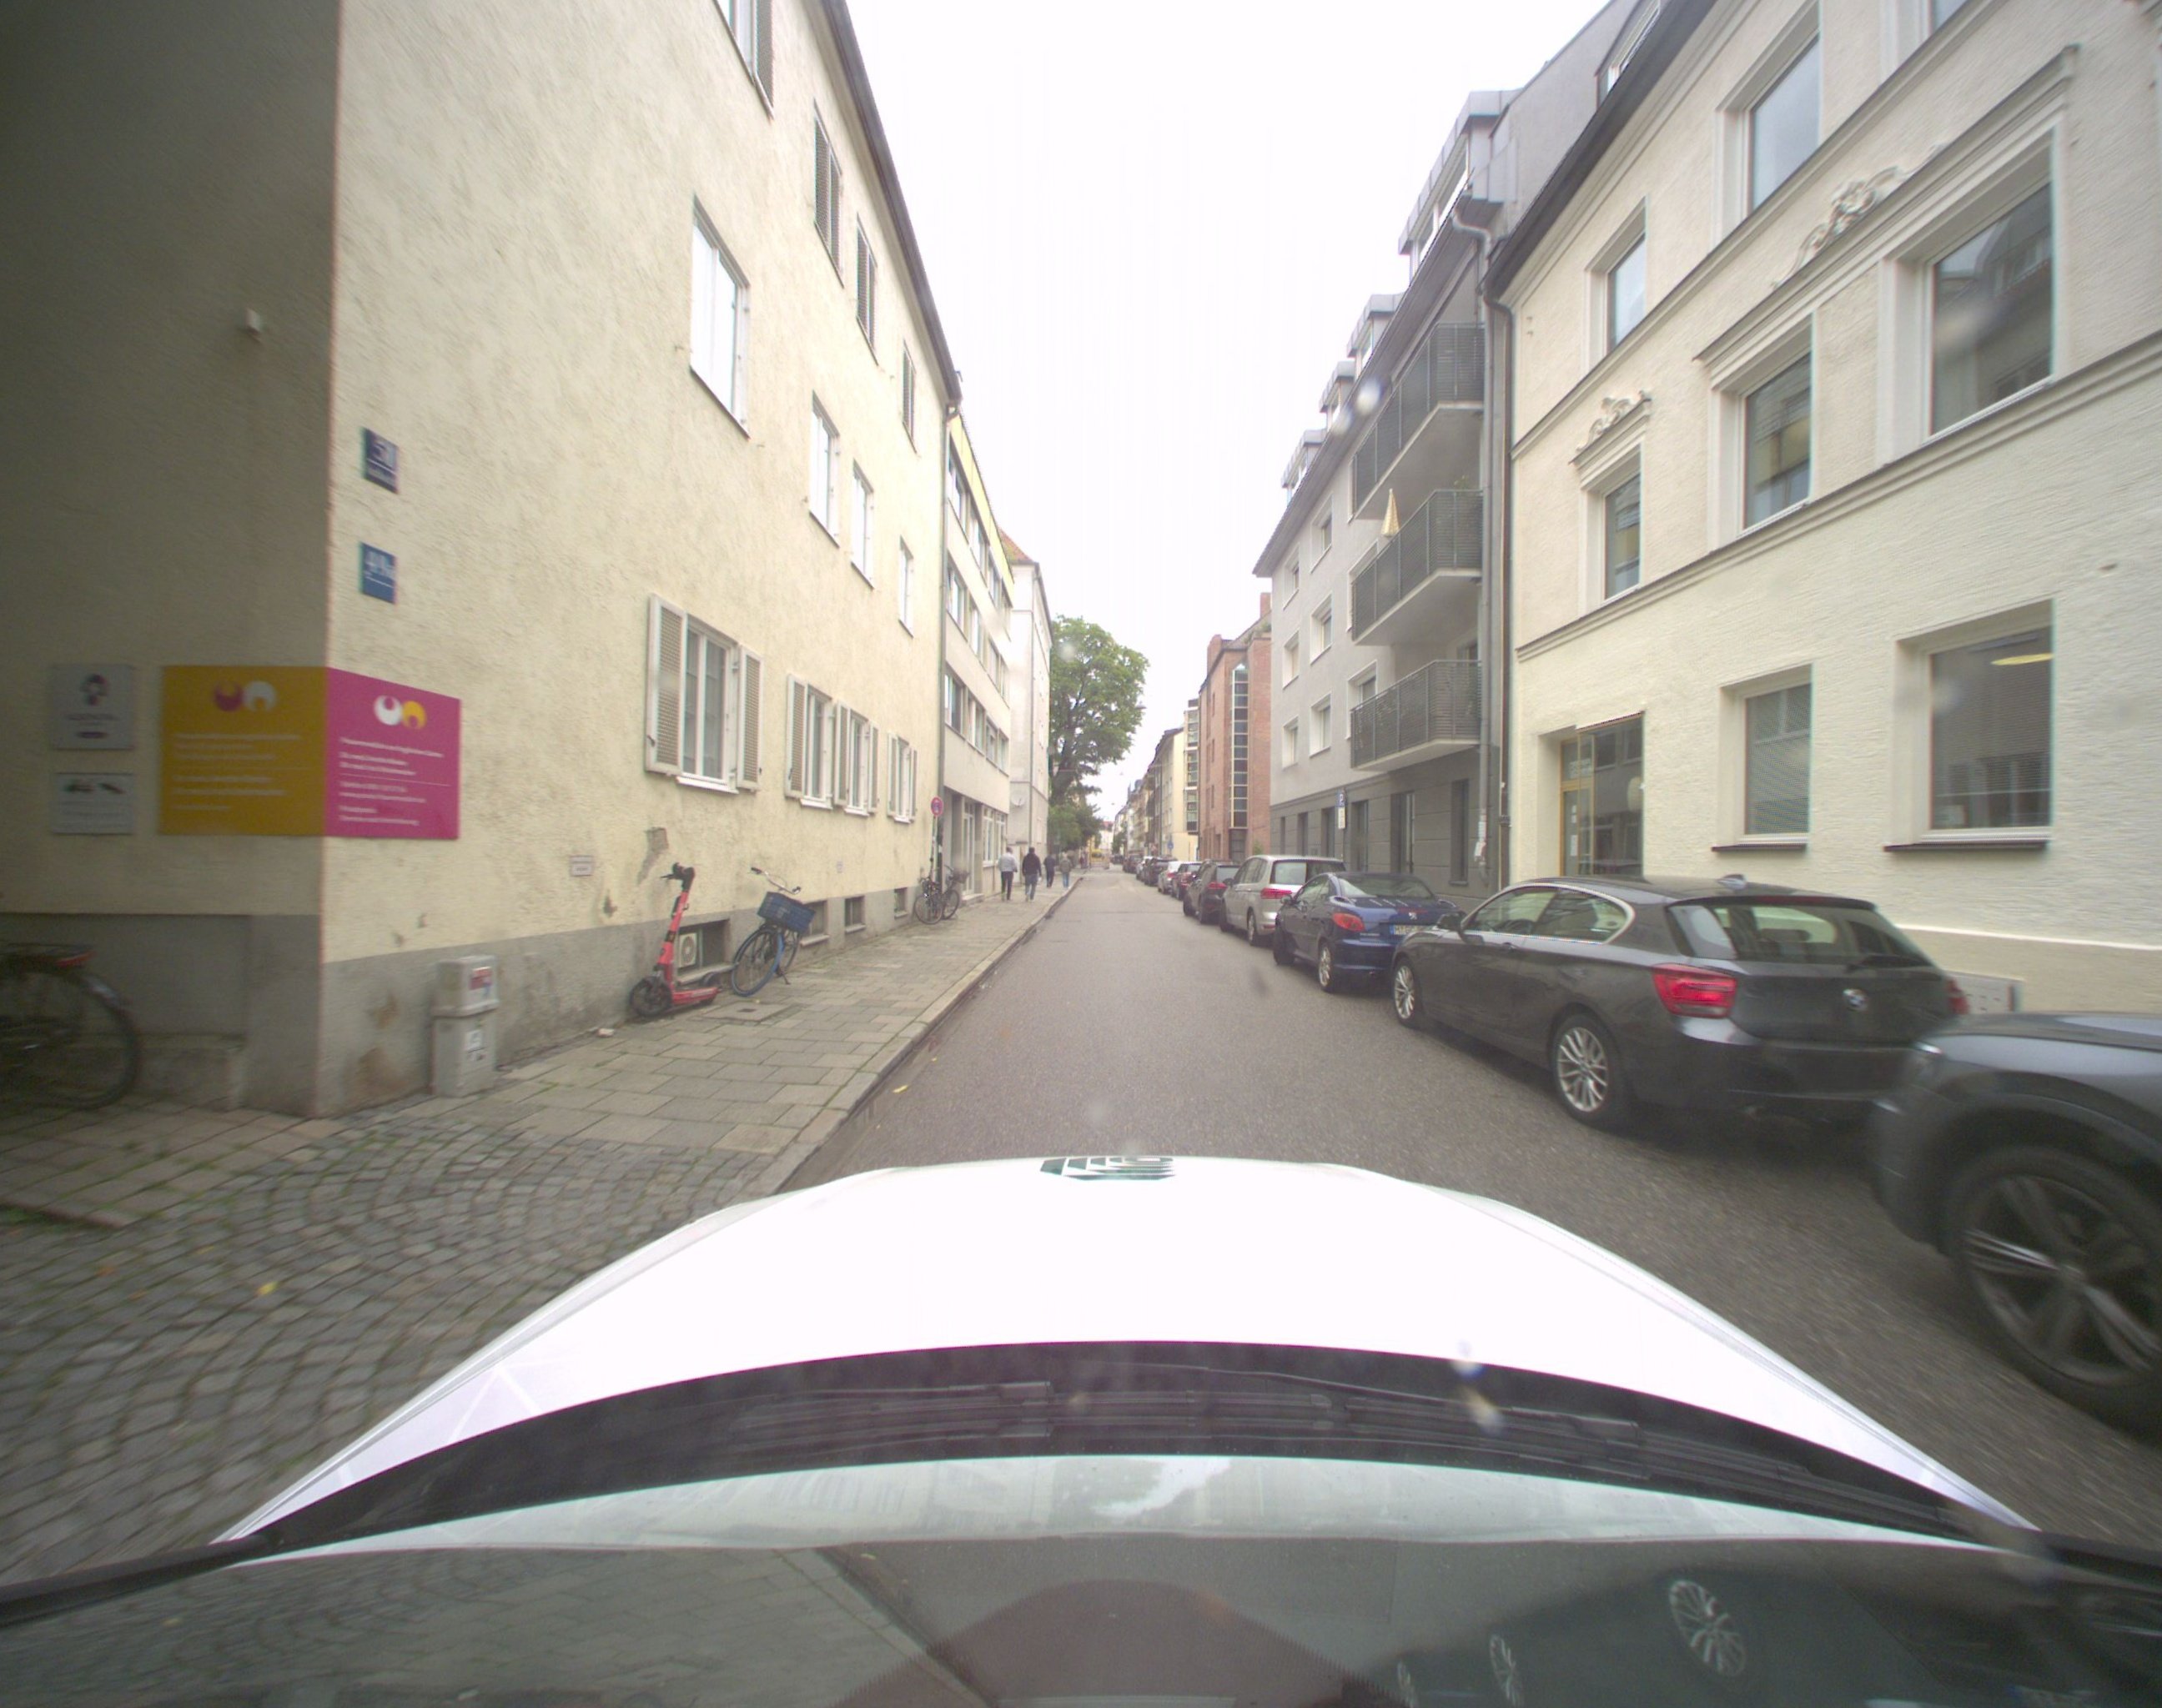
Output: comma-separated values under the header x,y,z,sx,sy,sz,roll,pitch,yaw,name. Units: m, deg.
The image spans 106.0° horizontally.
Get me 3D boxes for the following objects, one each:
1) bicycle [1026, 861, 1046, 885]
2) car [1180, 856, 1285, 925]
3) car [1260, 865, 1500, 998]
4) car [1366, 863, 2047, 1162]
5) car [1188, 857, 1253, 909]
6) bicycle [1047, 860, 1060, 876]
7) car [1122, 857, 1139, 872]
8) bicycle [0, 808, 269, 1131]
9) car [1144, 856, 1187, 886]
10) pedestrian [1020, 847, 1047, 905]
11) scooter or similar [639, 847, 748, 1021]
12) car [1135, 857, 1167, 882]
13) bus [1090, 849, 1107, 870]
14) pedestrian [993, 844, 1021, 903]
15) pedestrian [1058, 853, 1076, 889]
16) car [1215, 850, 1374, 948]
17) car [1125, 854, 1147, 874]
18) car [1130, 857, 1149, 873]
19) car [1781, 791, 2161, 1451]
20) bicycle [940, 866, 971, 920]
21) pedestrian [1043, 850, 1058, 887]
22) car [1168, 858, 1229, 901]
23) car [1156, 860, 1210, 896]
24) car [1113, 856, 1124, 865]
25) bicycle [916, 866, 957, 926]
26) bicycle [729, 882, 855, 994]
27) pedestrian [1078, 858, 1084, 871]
x,y,z,sx,sy,sz,roll,pitch,yaw,name
-2.309,0.947,41.613,0.643,1.217,1.655,0,-1,-17,bicycle
3.666,0.831,20.423,1.833,1.528,4.292,1,0,0,car
3.604,0.851,10.615,1.801,1.363,3.947,0,0,2,car
3.755,0.782,6.075,1.793,1.386,4.349,0,0,1,car
4.386,0.879,25.964,1.516,1.511,3.202,1,0,0,car
-1.922,0.961,56.223,0.474,1.111,1.750,1,0,-16,bicycle
5.663,1.172,93.652,1.630,1.515,3.829,4,0,1,car
-5.005,0.436,3.624,2.192,1.299,0.514,3,0,0,bicycle
4.621,0.891,45.283,1.880,1.555,4.390,1,0,-1,car
-1.515,0.691,25.852,0.715,1.765,0.838,2,-1,1,pedestrian
-3.318,0.637,7.062,0.316,1.376,1.239,0,-1,1,scooter or similar
4.745,1.048,55.783,1.743,1.630,4.195,0,0,-1,car
2.707,0.867,127.505,2.583,3.102,6.308,0,-1,2,bus
-2.313,0.617,25.615,0.715,1.796,0.917,2,-1,1,pedestrian
-0.689,0.821,39.270,0.750,1.659,0.906,2,-1,1,pedestrian
3.859,0.749,15.534,1.870,1.570,4.315,-1,0,0,car
5.517,0.969,81.768,1.796,1.820,3.998,4,0,-1,car
5.568,1.047,77.405,1.618,1.487,3.809,1,0,2,car
3.535,0.678,0.934,1.670,1.661,4.513,1,0,1,car
-2.859,0.861,18.648,0.561,1.159,1.718,1,-1,-4,bicycle
-1.463,0.692,39.187,0.610,1.713,0.823,2,-1,1,pedestrian
4.370,0.911,30.834,1.740,1.462,4.150,1,0,0,car
4.364,0.973,35.434,1.830,1.417,4.601,1,0,0,car
7.333,1.222,159.561,1.795,1.712,3.826,4,0,0,car
-2.981,0.841,16.934,0.456,1.159,1.606,3,-1,2,bicycle
-3.044,0.842,8.789,0.702,0.984,1.821,5,-1,-3,bicycle
-0.024,1.269,97.724,0.753,1.491,0.831,0,-1,1,pedestrian
